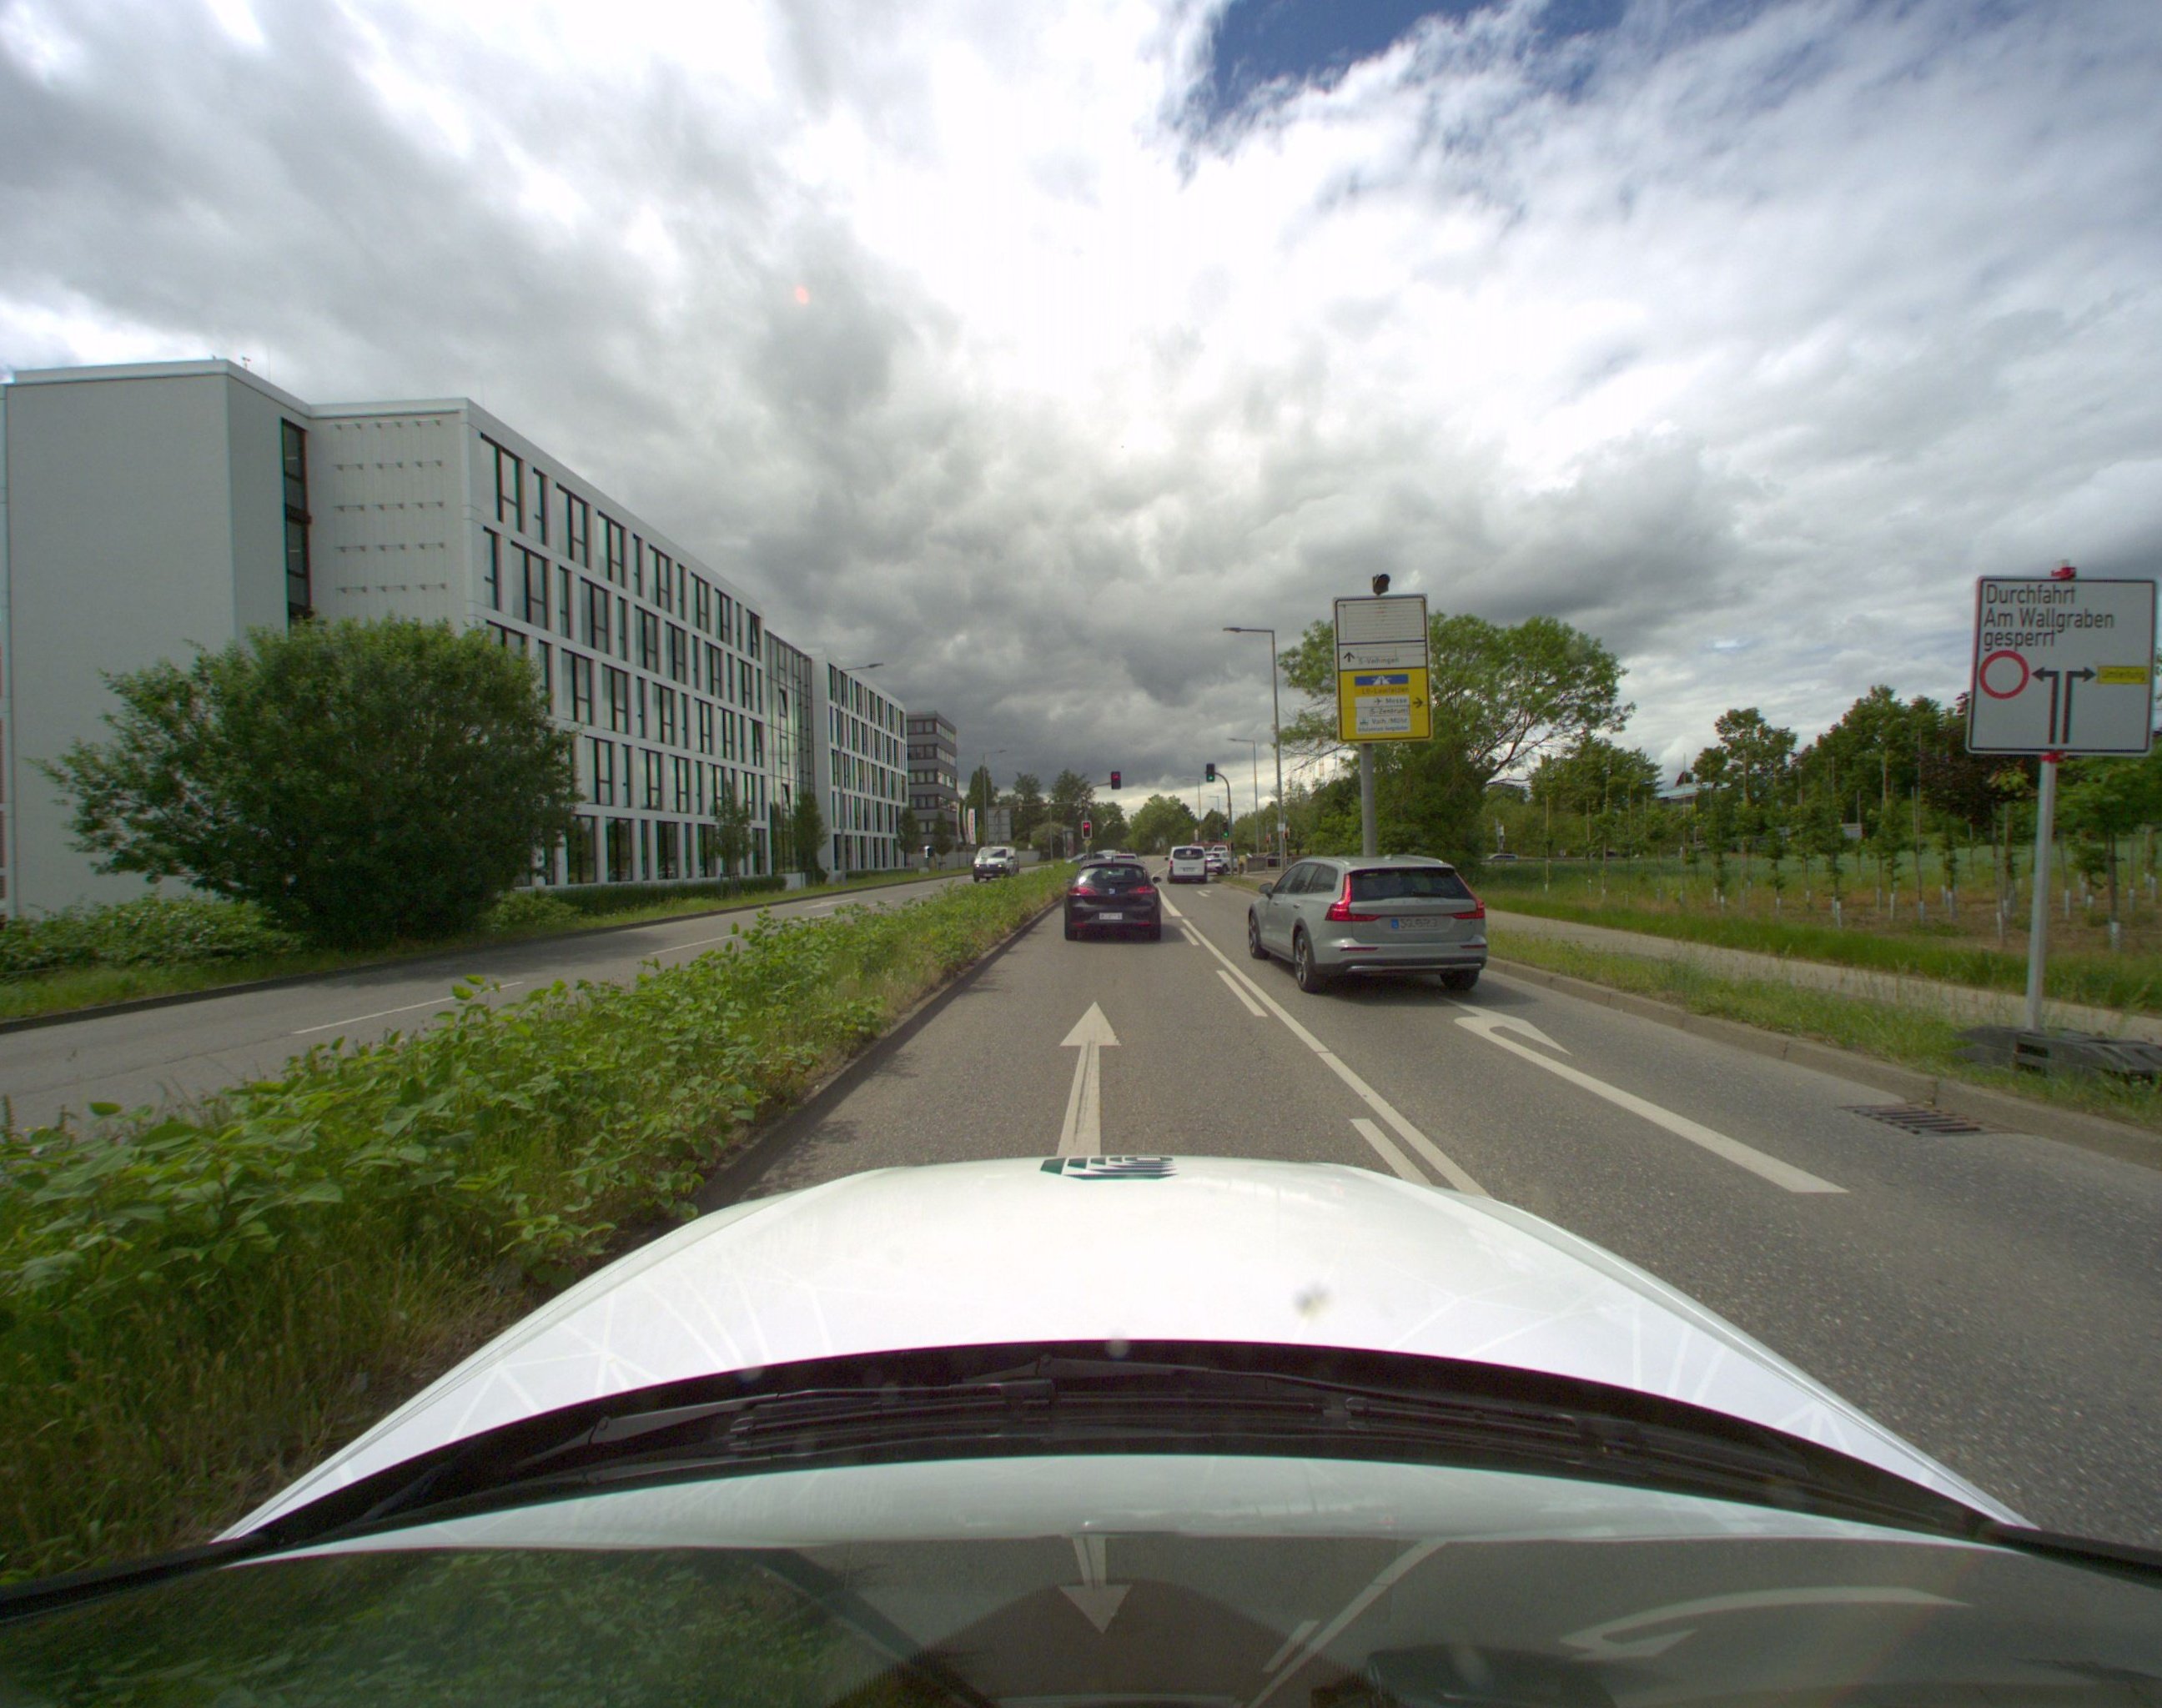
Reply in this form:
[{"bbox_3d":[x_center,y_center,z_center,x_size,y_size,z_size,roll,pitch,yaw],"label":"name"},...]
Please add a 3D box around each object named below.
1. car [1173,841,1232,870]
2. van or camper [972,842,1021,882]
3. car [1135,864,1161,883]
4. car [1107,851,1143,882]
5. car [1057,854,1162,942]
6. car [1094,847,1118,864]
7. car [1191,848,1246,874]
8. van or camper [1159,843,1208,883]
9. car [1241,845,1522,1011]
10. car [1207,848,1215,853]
[{"bbox_3d":[10.949,0.152,73.531,5.195,2.412,2.004,-2,0,7],"label":"car"},{"bbox_3d":[-4.656,0.424,45.435,1.986,2.013,4.818,-2,0,2],"label":"van or camper"},{"bbox_3d":[6.123,1.770,74.224,1.982,1.596,4.010,-1,0,9],"label":"car"},{"bbox_3d":[2.259,0.627,42.647,1.767,1.491,3.583,-2,0,1],"label":"car"},{"bbox_3d":[0.600,0.751,15.543,1.765,1.451,3.586,0,0,3],"label":"car"},{"bbox_3d":[2.536,0.172,80.483,1.983,1.596,4.008,-1,0,7],"label":"car"},{"bbox_3d":[9.014,0.451,53.170,1.974,1.596,4.026,-2,0,35],"label":"car"},{"bbox_3d":[5.133,0.434,41.441,1.986,1.860,4.946,-2,0,2],"label":"van or camper"},{"bbox_3d":[3.300,0.695,9.986,1.856,1.518,4.448,-2,0,1],"label":"car"},{"bbox_3d":[34.346,-0.857,214.873,1.980,1.352,4.013,-1,0,12],"label":"car"}]
